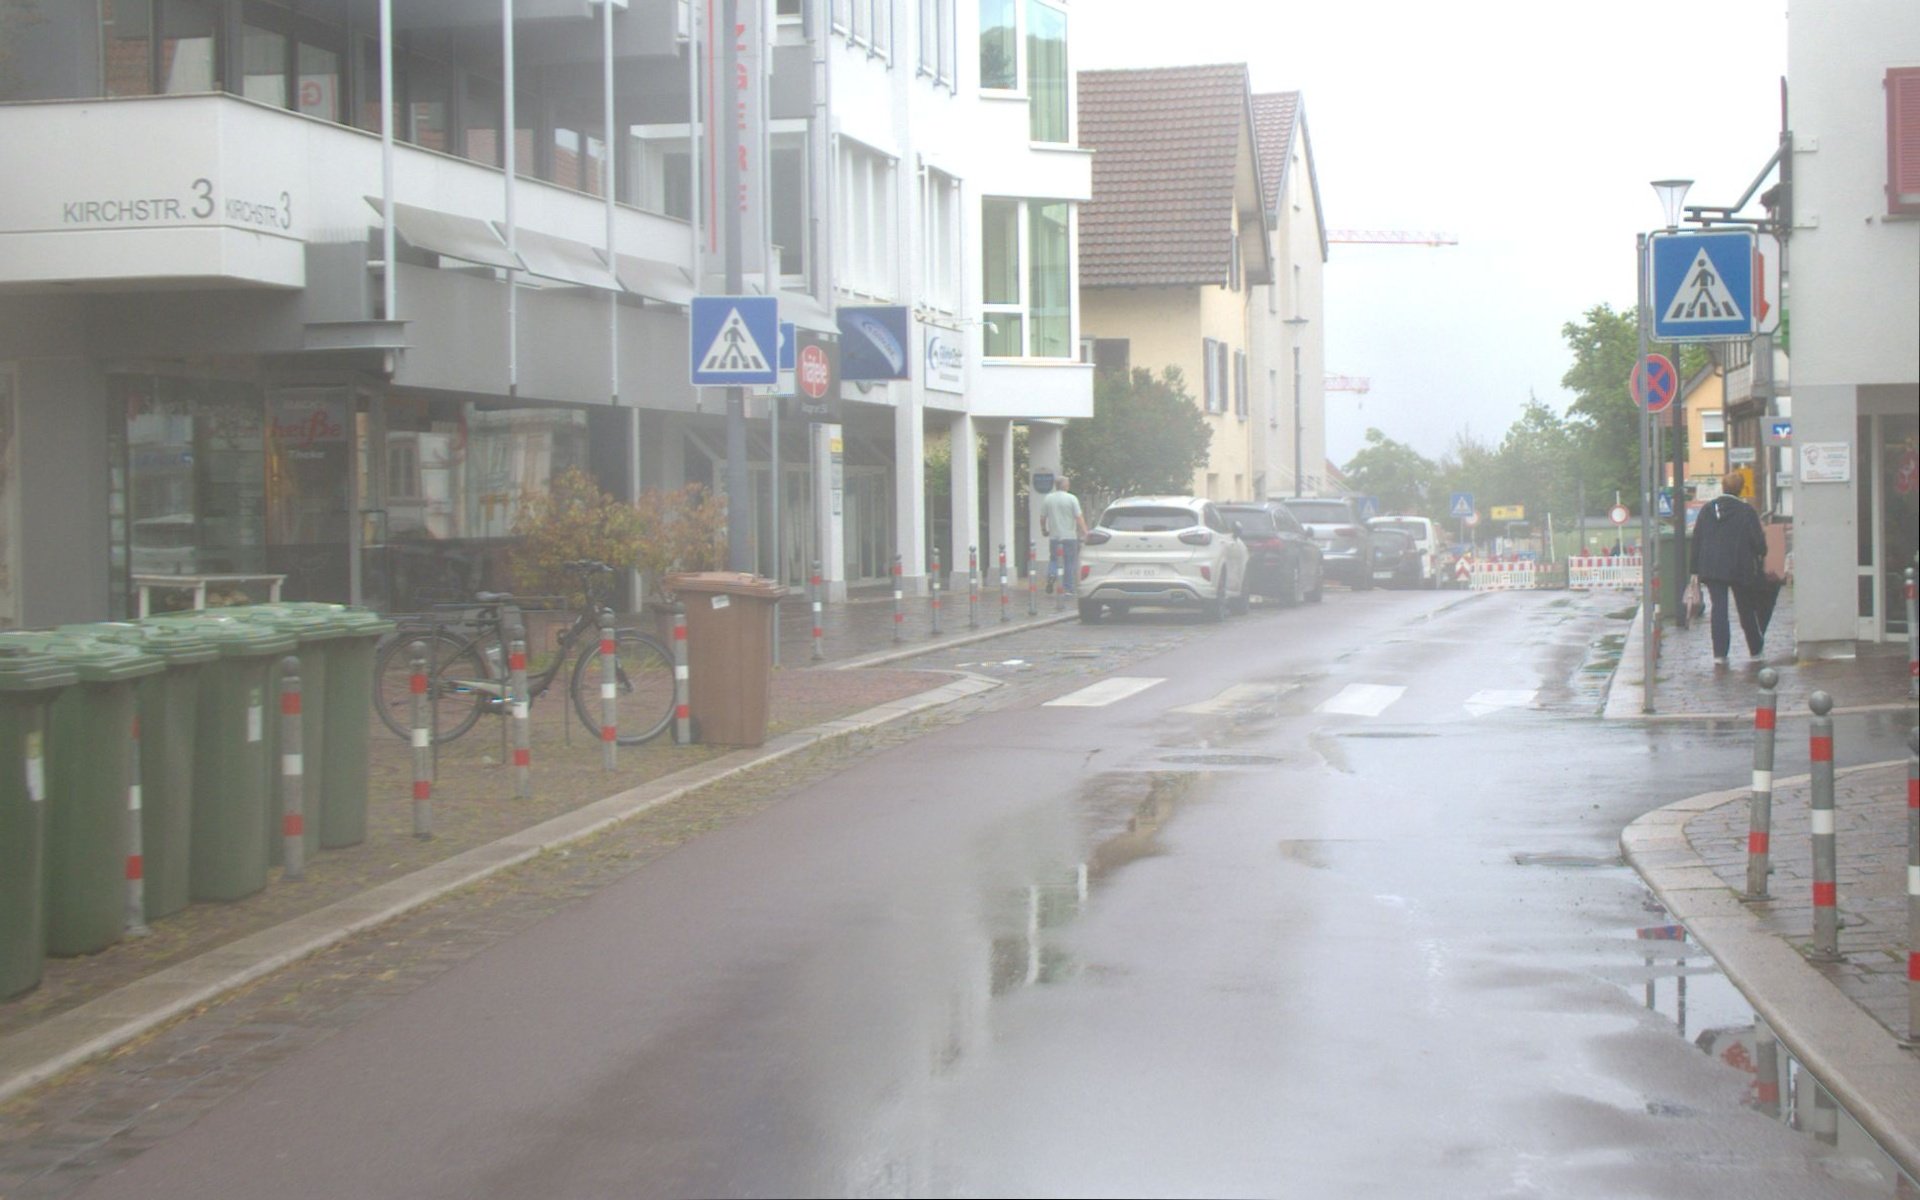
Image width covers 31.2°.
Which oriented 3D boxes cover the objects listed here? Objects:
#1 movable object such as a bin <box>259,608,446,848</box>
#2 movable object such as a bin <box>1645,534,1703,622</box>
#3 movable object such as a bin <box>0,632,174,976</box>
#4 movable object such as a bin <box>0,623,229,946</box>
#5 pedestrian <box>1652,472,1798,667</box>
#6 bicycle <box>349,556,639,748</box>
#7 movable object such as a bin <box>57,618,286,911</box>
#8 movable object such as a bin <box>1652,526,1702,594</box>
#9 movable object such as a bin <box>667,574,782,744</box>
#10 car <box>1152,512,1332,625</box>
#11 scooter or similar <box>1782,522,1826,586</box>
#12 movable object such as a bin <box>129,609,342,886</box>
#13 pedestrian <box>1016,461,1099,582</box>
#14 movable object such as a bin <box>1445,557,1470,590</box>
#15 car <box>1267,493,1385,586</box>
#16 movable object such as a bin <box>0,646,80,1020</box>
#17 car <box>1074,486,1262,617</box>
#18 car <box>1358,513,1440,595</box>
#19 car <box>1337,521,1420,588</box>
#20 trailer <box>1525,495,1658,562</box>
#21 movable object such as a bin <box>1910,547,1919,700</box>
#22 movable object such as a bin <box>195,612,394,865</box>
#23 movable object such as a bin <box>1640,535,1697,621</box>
[{"bbox_3d":[-2.724,0.564,15.460,0.686,1.036,0.669,0,1,3],"label":"movable object such as a bin"},{"bbox_3d":[8.862,-0.275,42.654,0.676,1.082,0.717,0,1,14],"label":"movable object such as a bin"},{"bbox_3d":[-3.082,0.670,11.567,0.686,1.101,0.669,0,1,3],"label":"movable object such as a bin"},{"bbox_3d":[-3.047,0.643,12.296,0.686,1.101,0.669,0,1,3],"label":"movable object such as a bin"},{"bbox_3d":[6.912,-0.280,31.127,1.178,1.691,1.177,-2,1,9],"label":"pedestrian"},{"bbox_3d":[-2.851,0.313,21.093,1.745,1.160,0.444,0,0,-7],"label":"bicycle"},{"bbox_3d":[-2.999,0.612,13.117,0.686,1.070,0.669,0,1,3],"label":"movable object such as a bin"},{"bbox_3d":[12.101,-0.673,58.002,0.804,1.127,0.862,0,0,11],"label":"movable object such as a bin"},{"bbox_3d":[-1.456,0.357,21.199,0.686,1.016,0.632,0,1,-5],"label":"movable object such as a bin"},{"bbox_3d":[4.056,-0.476,48.749,1.831,1.493,4.761,-1,1,13],"label":"car"},{"bbox_3d":[15.368,-0.831,62.587,0.665,1.142,1.444,0,0,19],"label":"scooter or similar"},{"bbox_3d":[-2.919,0.583,13.898,0.686,1.073,0.669,0,1,3],"label":"movable object such as a bin"},{"bbox_3d":[1.467,-1.178,51.529,1.036,1.800,1.115,1,1,12],"label":"pedestrian"},{"bbox_3d":[15.957,-0.857,110.335,0.533,1.029,0.544,0,-3,-45],"label":"movable object such as a bin"},{"bbox_3d":[6.577,-1.053,61.447,1.780,1.563,4.406,0,0,10],"label":"car"},{"bbox_3d":[-3.123,0.691,10.460,0.686,1.077,0.669,0,1,3],"label":"movable object such as a bin"},{"bbox_3d":[2.654,-0.618,43.069,1.792,1.545,3.998,1,1,11],"label":"car"},{"bbox_3d":[10.260,-1.041,80.191,1.724,1.819,4.426,0,0,10],"label":"car"},{"bbox_3d":[9.088,-0.959,74.412,1.681,1.384,3.824,0,0,9],"label":"car"},{"bbox_3d":[28.519,-3.215,155.324,5.782,2.937,1.999,0,0,7],"label":"trailer"},{"bbox_3d":[6.876,0.156,23.791,0.501,1.053,0.548,-2,-1,12],"label":"movable object such as a bin"},{"bbox_3d":[-2.839,0.582,14.718,0.686,1.038,0.669,0,1,3],"label":"movable object such as a bin"},{"bbox_3d":[8.953,-0.281,43.418,0.676,1.080,0.697,0,1,14],"label":"movable object such as a bin"}]
